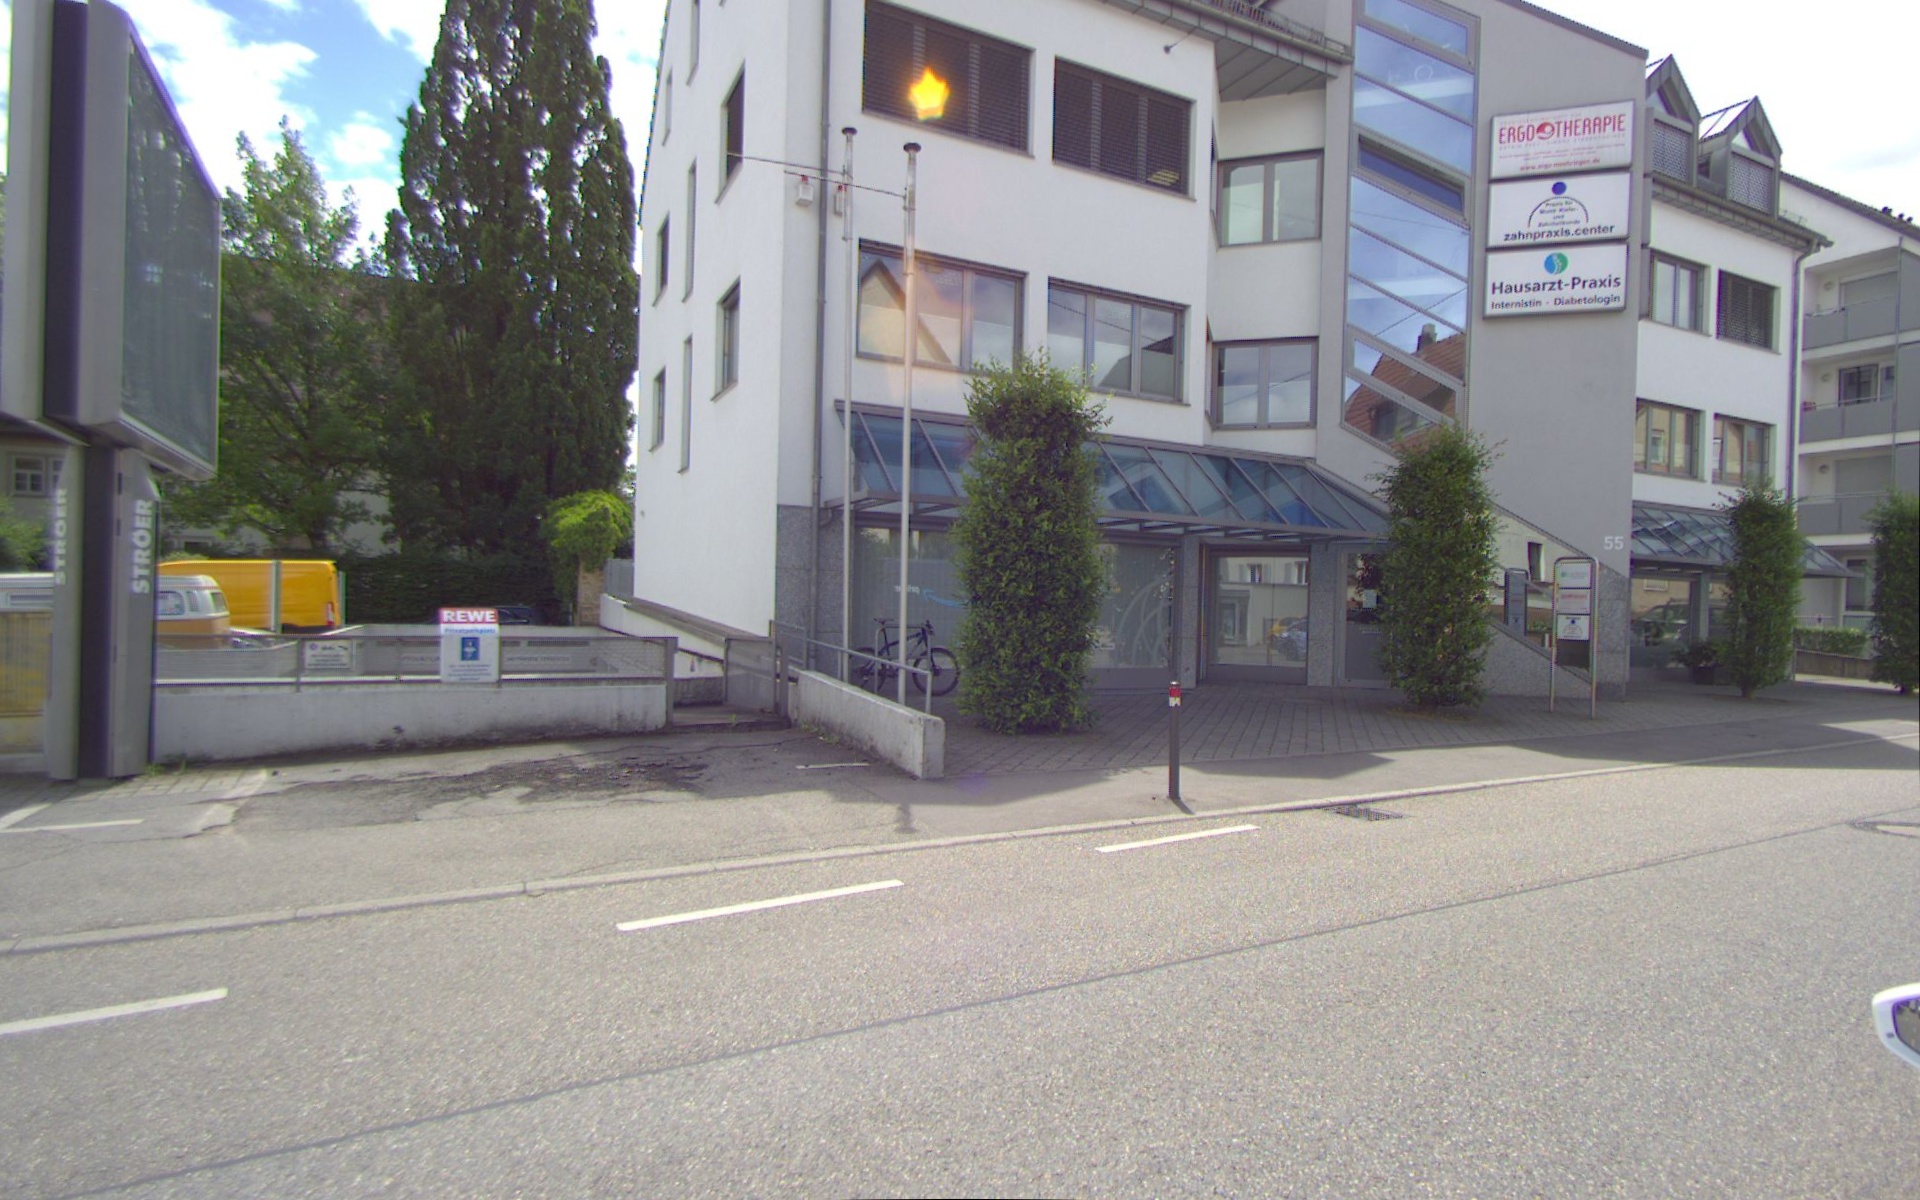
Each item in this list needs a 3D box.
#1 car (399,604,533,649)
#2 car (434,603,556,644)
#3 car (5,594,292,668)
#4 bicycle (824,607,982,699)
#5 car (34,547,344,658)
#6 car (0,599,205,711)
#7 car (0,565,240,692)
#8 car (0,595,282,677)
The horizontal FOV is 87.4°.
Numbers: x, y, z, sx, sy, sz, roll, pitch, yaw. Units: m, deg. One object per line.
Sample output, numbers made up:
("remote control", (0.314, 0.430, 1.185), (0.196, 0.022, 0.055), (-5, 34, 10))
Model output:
("car", (-15.245, 0.823, 31.140), (3.614, 1.302, 1.706), (1, 0, -26))
("car", (-15.645, 0.784, 33.887), (3.614, 1.302, 1.706), (1, 0, -26))
("car", (-17.150, 0.670, 21.556), (4.448, 1.457, 1.806), (1, -2, -26))
("bicycle", (-0.723, 0.666, 13.017), (1.979, 1.110, 0.627), (1, 0, -30))
("car", (-19.150, 0.138, 25.427), (5.903, 2.563, 2.053), (1, -2, -29))
("car", (-13.607, 0.776, 14.882), (3.718, 1.549, 1.801), (1, 0, -34))
("car", (-15.205, 0.465, 17.047), (4.590, 2.016, 1.830), (1, 0, -28))
("car", (-16.055, 0.672, 19.447), (4.621, 1.457, 1.805), (1, 0, -26))
